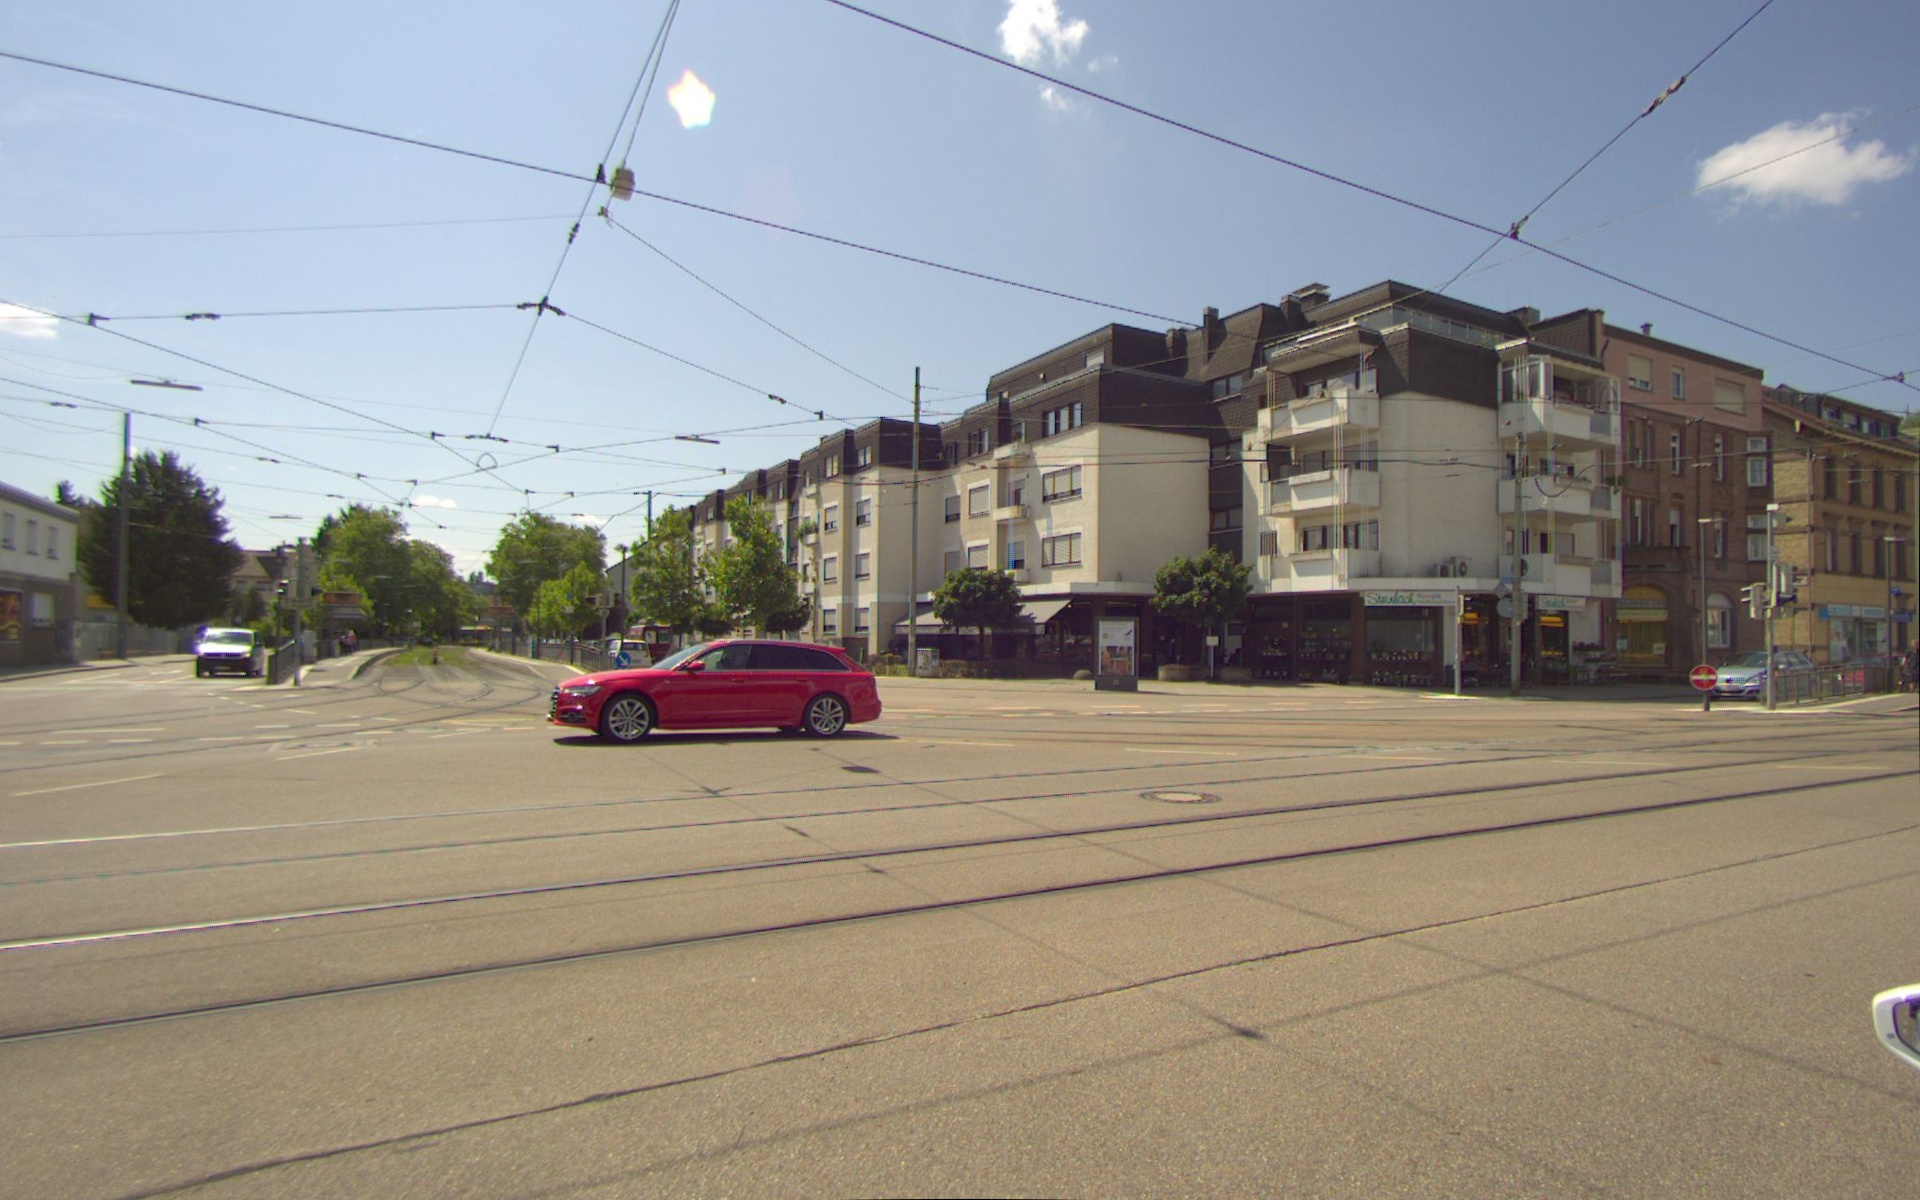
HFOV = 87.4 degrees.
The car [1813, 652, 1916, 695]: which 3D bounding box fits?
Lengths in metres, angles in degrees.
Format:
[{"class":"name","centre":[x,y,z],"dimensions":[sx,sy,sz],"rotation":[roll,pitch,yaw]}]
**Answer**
[{"class":"car","centre":[32.785,2.618,36.382],"dimensions":[3.807,1.463,1.648],"rotation":[2,-3,-30]}]

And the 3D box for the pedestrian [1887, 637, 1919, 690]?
[{"class":"pedestrian","centre":[28.558,1.901,30.165],"dimensions":[0.909,1.580,0.782],"rotation":[2,-3,-29]}]

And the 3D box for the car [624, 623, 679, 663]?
[{"class":"car","centre":[-19.090,2.677,61.947],"dimensions":[2.189,2.369,5.180],"rotation":[2,-3,-29]}]

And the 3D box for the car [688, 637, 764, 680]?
[{"class":"car","centre":[-10.981,2.696,46.902],"dimensions":[1.978,1.863,4.780],"rotation":[2,-3,-32]}]

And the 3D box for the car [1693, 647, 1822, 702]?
[{"class":"car","centre":[25.464,2.330,32.054],"dimensions":[4.552,1.636,1.727],"rotation":[2,-3,-31]}]

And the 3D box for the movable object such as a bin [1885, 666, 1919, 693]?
[{"class":"movable object such as a bin","centre":[28.134,2.370,29.957],"dimensions":[0.532,0.790,0.672],"rotation":[2,-3,-31]}]

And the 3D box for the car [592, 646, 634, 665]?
[{"class":"car","centre":[-25.882,4.102,74.835],"dimensions":[1.978,1.350,4.780],"rotation":[2,-3,-32]}]

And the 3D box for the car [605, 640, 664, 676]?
[{"class":"car","centre":[-15.525,2.709,47.753],"dimensions":[1.974,1.627,4.789],"rotation":[2,-3,-27]}]

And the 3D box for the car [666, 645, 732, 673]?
[{"class":"car","centre":[-13.588,3.026,52.102],"dimensions":[1.978,1.350,4.780],"rotation":[2,-3,-32]}]

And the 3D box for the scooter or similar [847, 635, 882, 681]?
[{"class":"scooter or similar","centre":[-3.963,2.389,41.656],"dimensions":[0.610,1.870,1.996],"rotation":[2,-3,-31]}]

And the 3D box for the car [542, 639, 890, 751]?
[{"class":"car","centre":[-3.623,1.341,15.187],"dimensions":[4.764,1.469,1.985],"rotation":[2,-3,-30]}]

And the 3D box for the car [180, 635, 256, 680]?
[{"class":"car","centre":[-30.382,2.346,41.255],"dimensions":[1.976,1.750,3.970],"rotation":[2,-3,-29]}]

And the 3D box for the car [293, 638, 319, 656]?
[{"class":"car","centre":[-64.255,4.646,98.732],"dimensions":[1.977,1.542,3.967],"rotation":[2,-1,-30]}]
